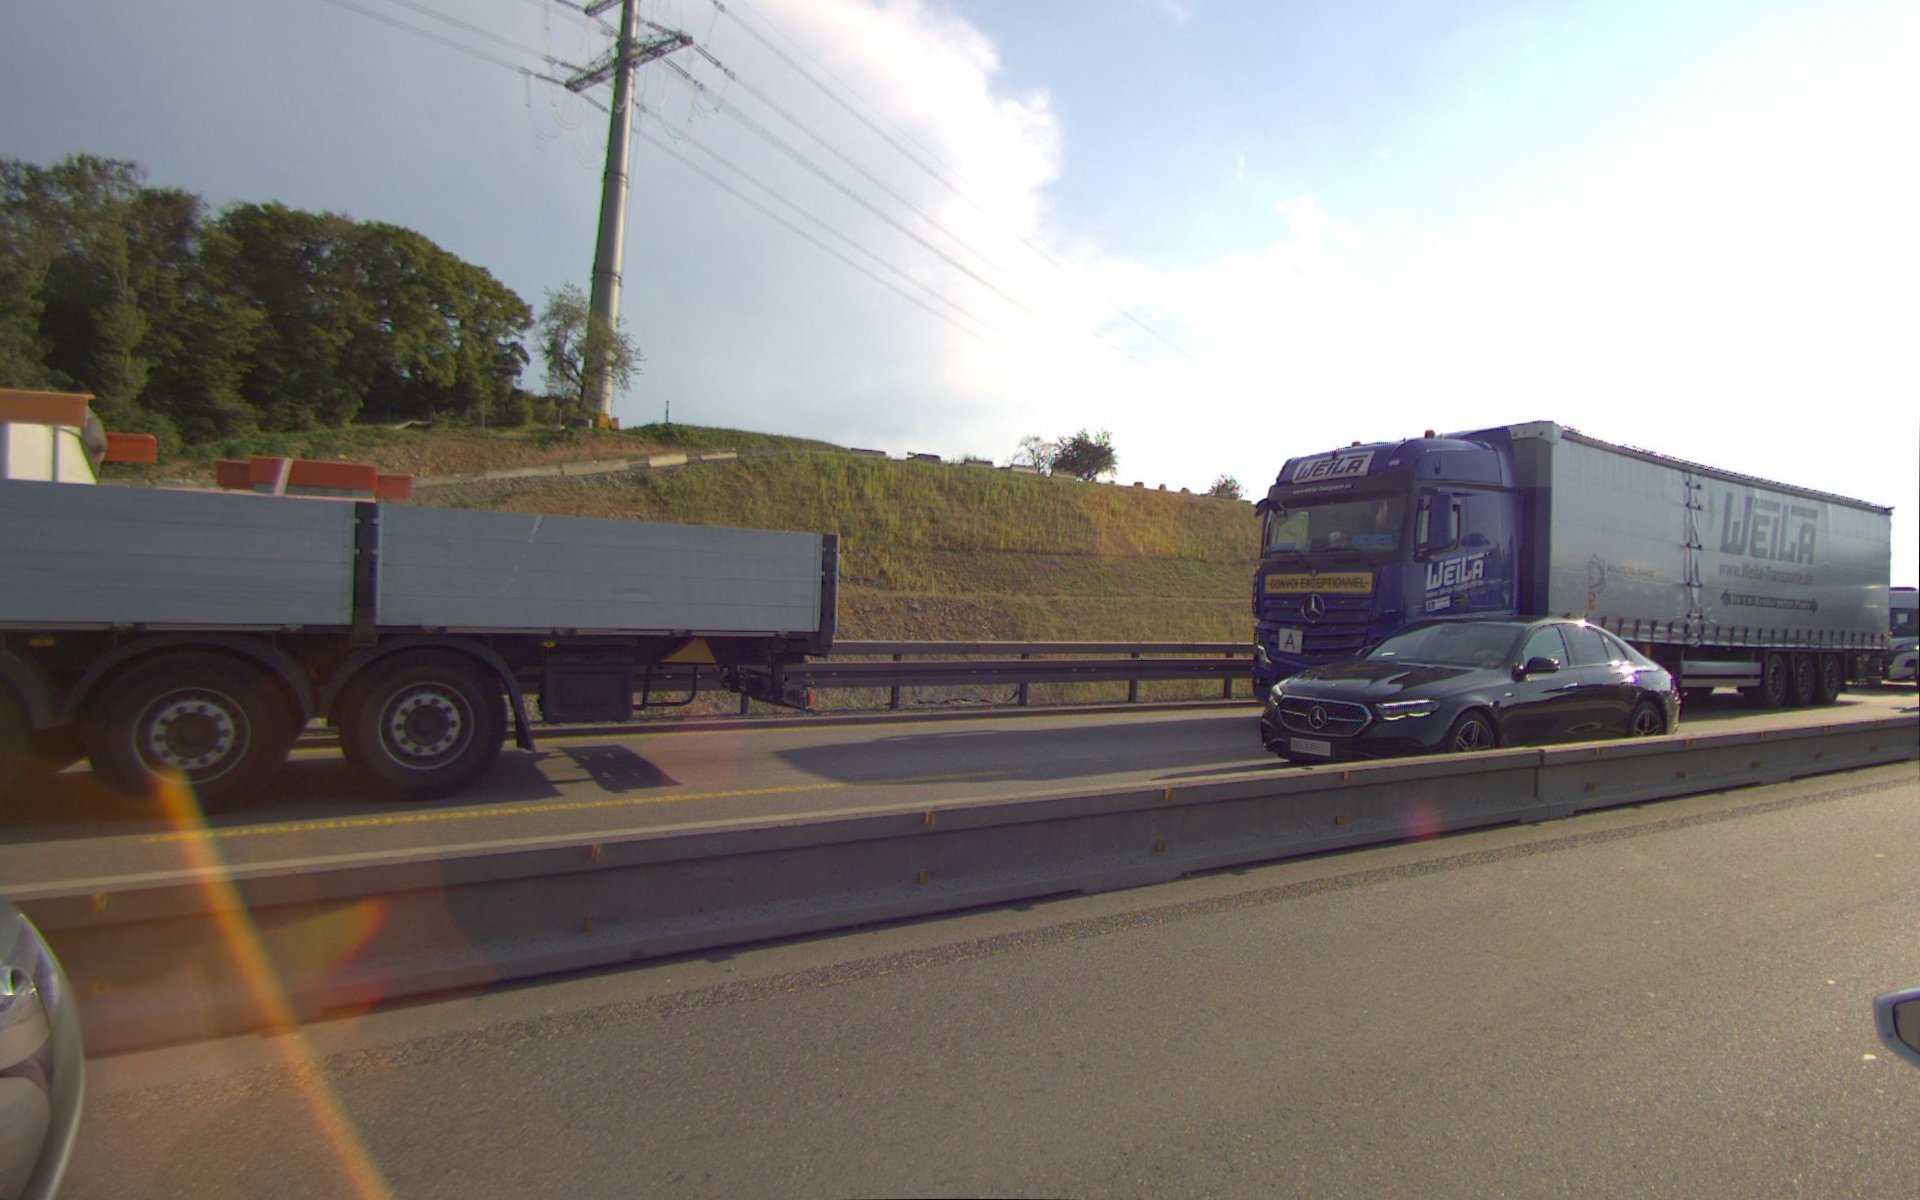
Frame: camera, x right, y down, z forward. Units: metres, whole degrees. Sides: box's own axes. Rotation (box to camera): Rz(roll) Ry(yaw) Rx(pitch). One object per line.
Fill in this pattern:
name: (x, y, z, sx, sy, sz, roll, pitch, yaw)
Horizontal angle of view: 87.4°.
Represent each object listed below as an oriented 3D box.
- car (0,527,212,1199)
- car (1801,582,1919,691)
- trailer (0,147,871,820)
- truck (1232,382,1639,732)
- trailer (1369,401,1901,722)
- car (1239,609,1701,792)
car: (-3.534, 0.587, 0.947, 4.302, 1.492, 1.747, 2, -1, -30)
car: (24.389, 0.949, 26.345, 5.532, 2.591, 2.144, 2, -1, -34)
trailer: (-7.337, -0.698, 5.924, 13.817, 3.774, 2.507, 2, -1, -31)
truck: (6.857, -0.429, 14.332, 5.599, 4.119, 2.491, 2, 0, -31)
trailer: (12.833, -0.309, 17.949, 14.442, 4.185, 2.294, 2, 0, -33)
car: (5.054, 0.851, 9.753, 4.712, 1.396, 1.750, 2, -1, -31)
